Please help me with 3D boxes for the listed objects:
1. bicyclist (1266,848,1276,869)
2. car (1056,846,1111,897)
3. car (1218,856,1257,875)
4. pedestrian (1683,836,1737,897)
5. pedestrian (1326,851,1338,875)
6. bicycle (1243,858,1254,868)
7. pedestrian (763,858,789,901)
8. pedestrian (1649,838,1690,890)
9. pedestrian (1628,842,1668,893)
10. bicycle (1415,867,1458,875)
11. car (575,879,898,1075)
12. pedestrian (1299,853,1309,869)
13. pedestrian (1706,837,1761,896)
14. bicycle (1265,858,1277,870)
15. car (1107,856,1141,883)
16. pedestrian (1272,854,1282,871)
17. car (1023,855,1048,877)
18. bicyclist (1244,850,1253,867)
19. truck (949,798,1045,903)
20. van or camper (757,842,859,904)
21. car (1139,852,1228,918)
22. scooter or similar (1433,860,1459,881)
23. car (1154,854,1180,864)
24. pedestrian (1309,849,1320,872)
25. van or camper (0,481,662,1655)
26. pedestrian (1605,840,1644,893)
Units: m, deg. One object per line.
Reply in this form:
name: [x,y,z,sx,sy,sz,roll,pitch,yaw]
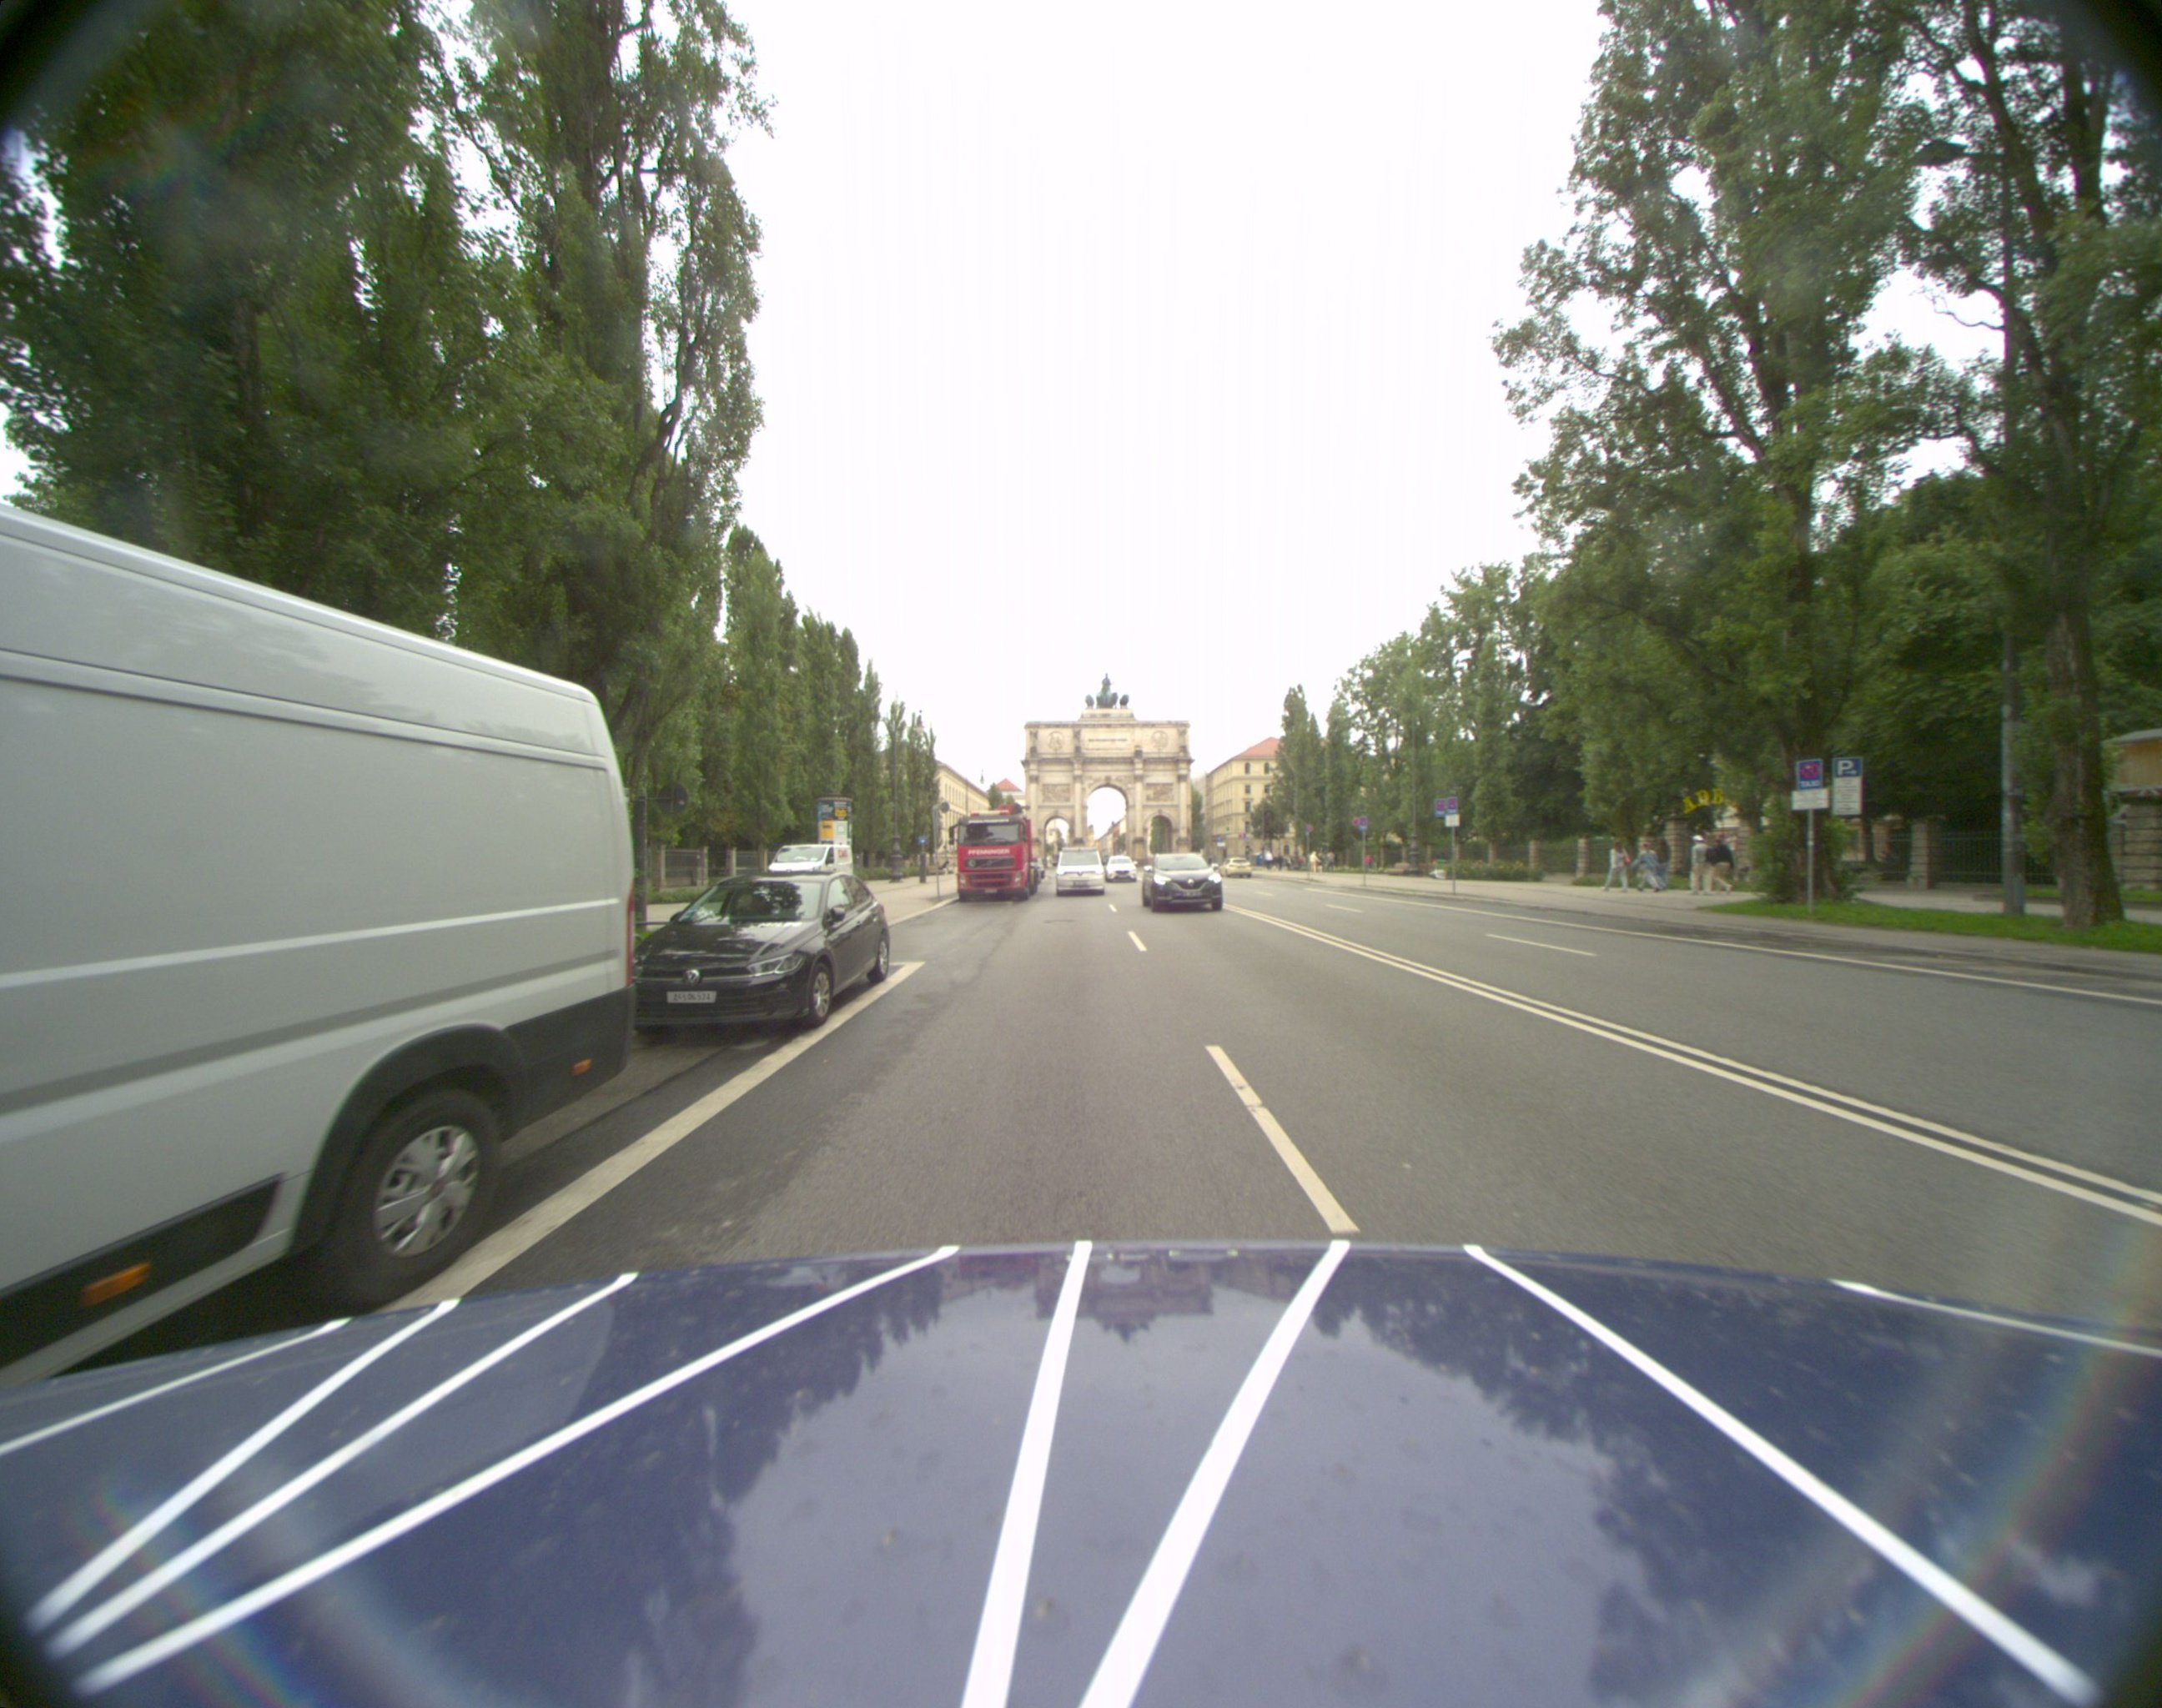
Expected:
bicyclist: [16.097,0.387,64.397,0.591,1.812,0.661,-2,0,-2]
car: [0.122,0.658,32.025,2.064,1.916,5.728,-2,0,1]
car: [11.577,0.882,56.430,1.797,1.328,4.469,-1,-1,-2]
pedestrian: [19.254,0.373,23.270,0.711,1.823,1.092,-2,1,-1]
pedestrian: [17.798,0.624,53.886,0.533,1.720,0.583,-1,0,-11]
bicycle: [16.591,0.845,75.342,0.674,0.947,1.913,-2,0,-1]
pedestrian: [-12.030,0.999,30.009,0.718,1.684,0.755,-1,0,-1]
pedestrian: [19.786,0.343,25.555,0.661,1.706,0.911,-1,0,-1]
pedestrian: [19.062,0.444,25.552,0.689,1.690,0.885,-1,0,-1]
bicycle: [22.727,1.111,48.612,2.219,0.450,1.339,-1,-1,-22]
car: [-3.252,1.057,8.125,1.680,1.412,3.999,-1,0,-1]
pedestrian: [26.615,0.830,90.780,0.990,1.860,1.031,-2,1,10]
pedestrian: [19.985,0.371,23.293,0.711,1.762,1.092,-2,1,-1]
bicycle: [16.094,0.851,64.418,0.470,0.947,1.913,-2,0,-1]
car: [2.629,0.880,45.629,1.909,1.516,4.010,-1,0,5]
pedestrian: [21.265,0.923,82.586,0.959,1.708,1.031,-2,1,12]
car: [-3.552,0.888,58.950,1.847,1.597,4.366,-1,0,-4]
bicyclist: [16.568,0.432,75.283,0.647,1.582,0.661,-2,0,-2]
truck: [-3.145,-0.118,31.341,2.852,3.543,10.278,-2,0,-1]
van or camper: [-9.905,0.643,28.033,2.009,2.002,4.985,-2,0,-1]
car: [2.749,0.784,21.283,1.840,1.576,4.185,-3,0,0]
scooter or similar: [21.143,0.966,44.084,0.747,1.171,1.416,1,0,-5]
car: [14.366,0.818,126.427,2.004,1.739,3.989,-1,0,-40]
pedestrian: [17.549,0.510,57.121,0.533,1.720,0.583,-1,0,-11]
van or camper: [-3.407,0.469,0.957,2.144,2.525,6.417,-1,0,0]
pedestrian: [18.223,0.408,25.501,0.631,1.737,0.908,-1,0,-1]
